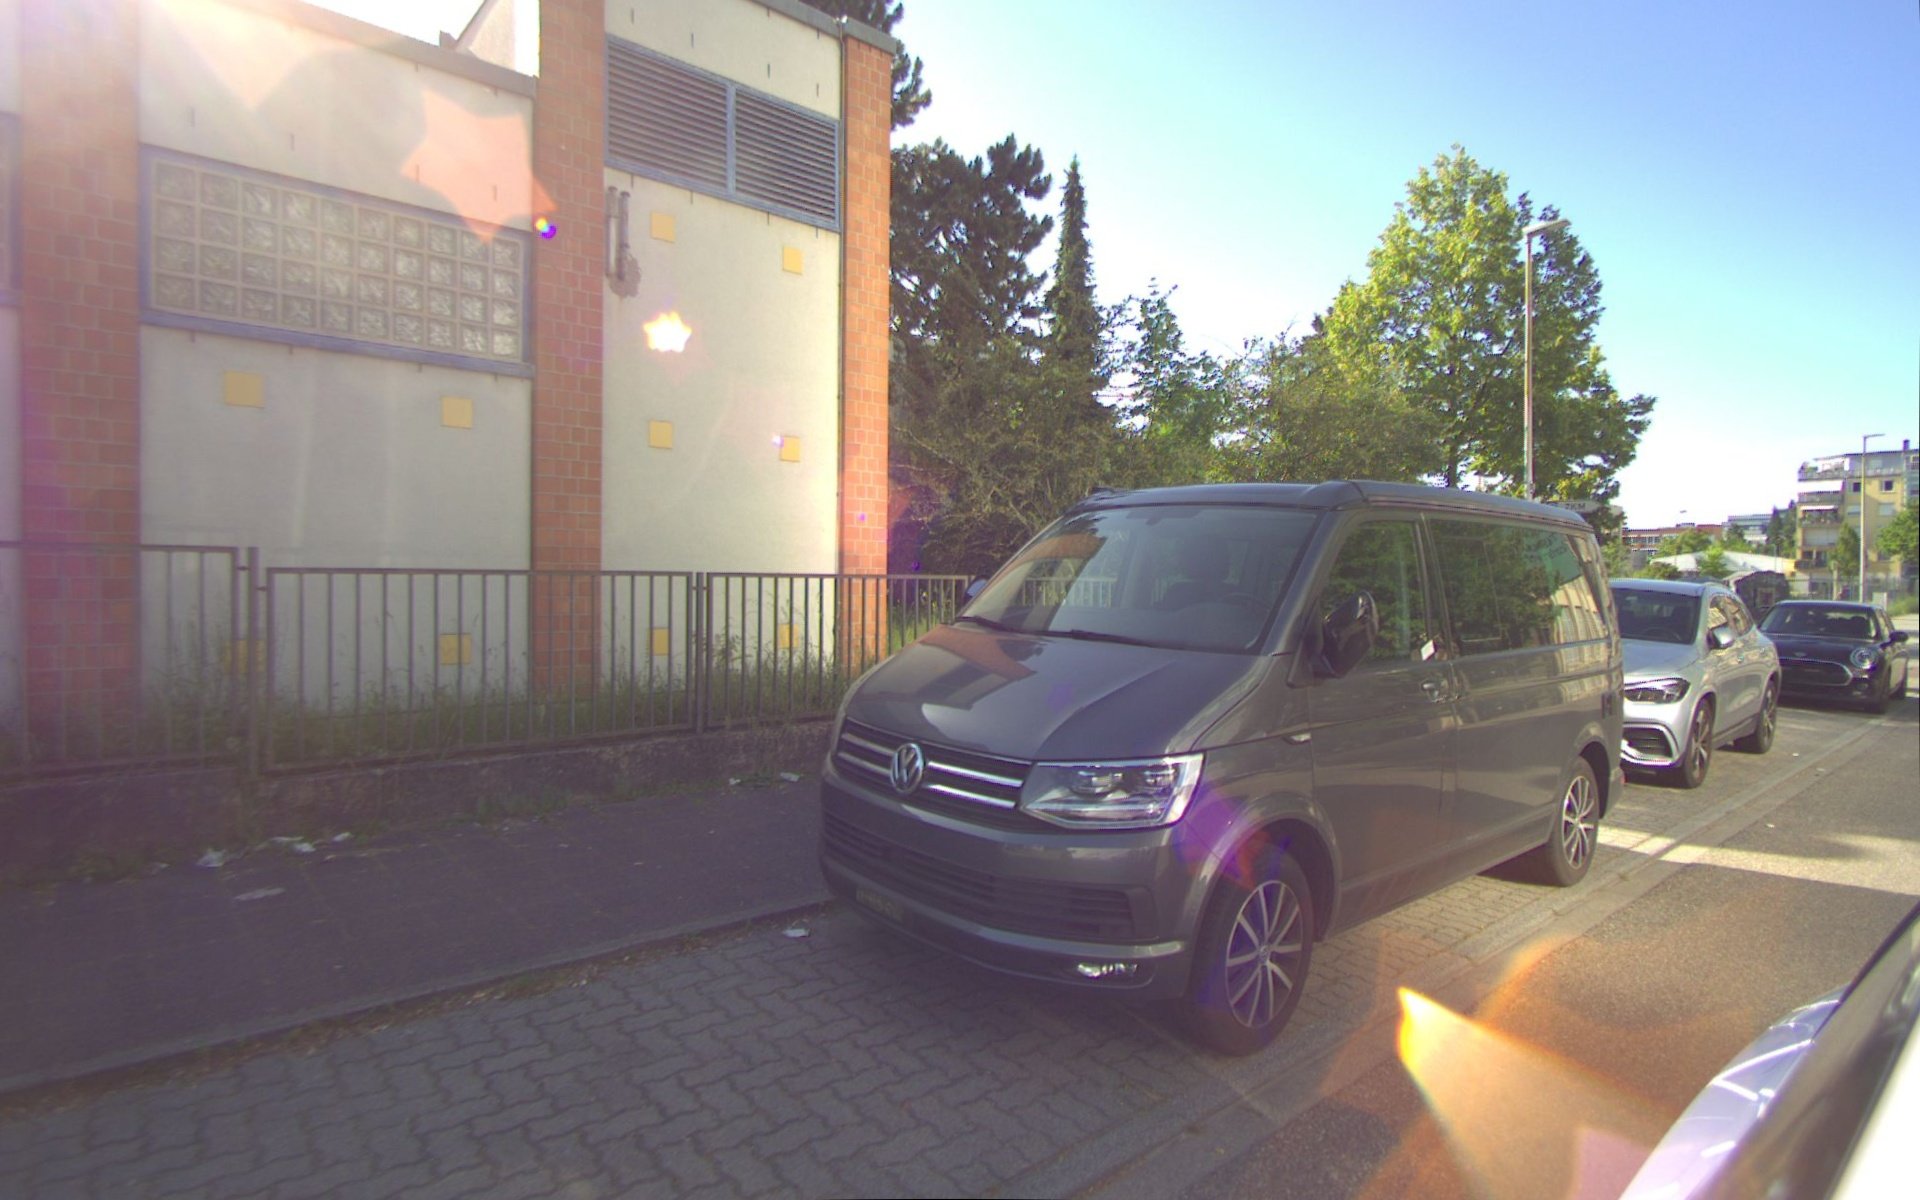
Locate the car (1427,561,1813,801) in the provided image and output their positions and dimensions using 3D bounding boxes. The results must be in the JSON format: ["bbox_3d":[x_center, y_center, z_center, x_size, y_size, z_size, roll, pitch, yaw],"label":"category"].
[{"bbox_3d":[6.116,0.513,9.180,4.219,1.649,1.829,-1,3,-41],"label":"car"}]

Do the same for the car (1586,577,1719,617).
[{"bbox_3d":[30.143,-0.169,44.140,1.963,1.630,4.423,0,1,-38],"label":"car"}]

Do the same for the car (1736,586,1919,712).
[{"bbox_3d":[12.610,0.585,14.519,3.699,1.490,1.655,-1,3,-42],"label":"car"}]

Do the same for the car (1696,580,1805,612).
[{"bbox_3d":[41.649,-0.230,53.404,1.863,1.579,4.240,0,1,-38],"label":"car"}]

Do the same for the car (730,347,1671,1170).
[{"bbox_3d":[1.514,0.326,4.811,4.742,2.047,1.947,-1,3,-41],"label":"car"}]
